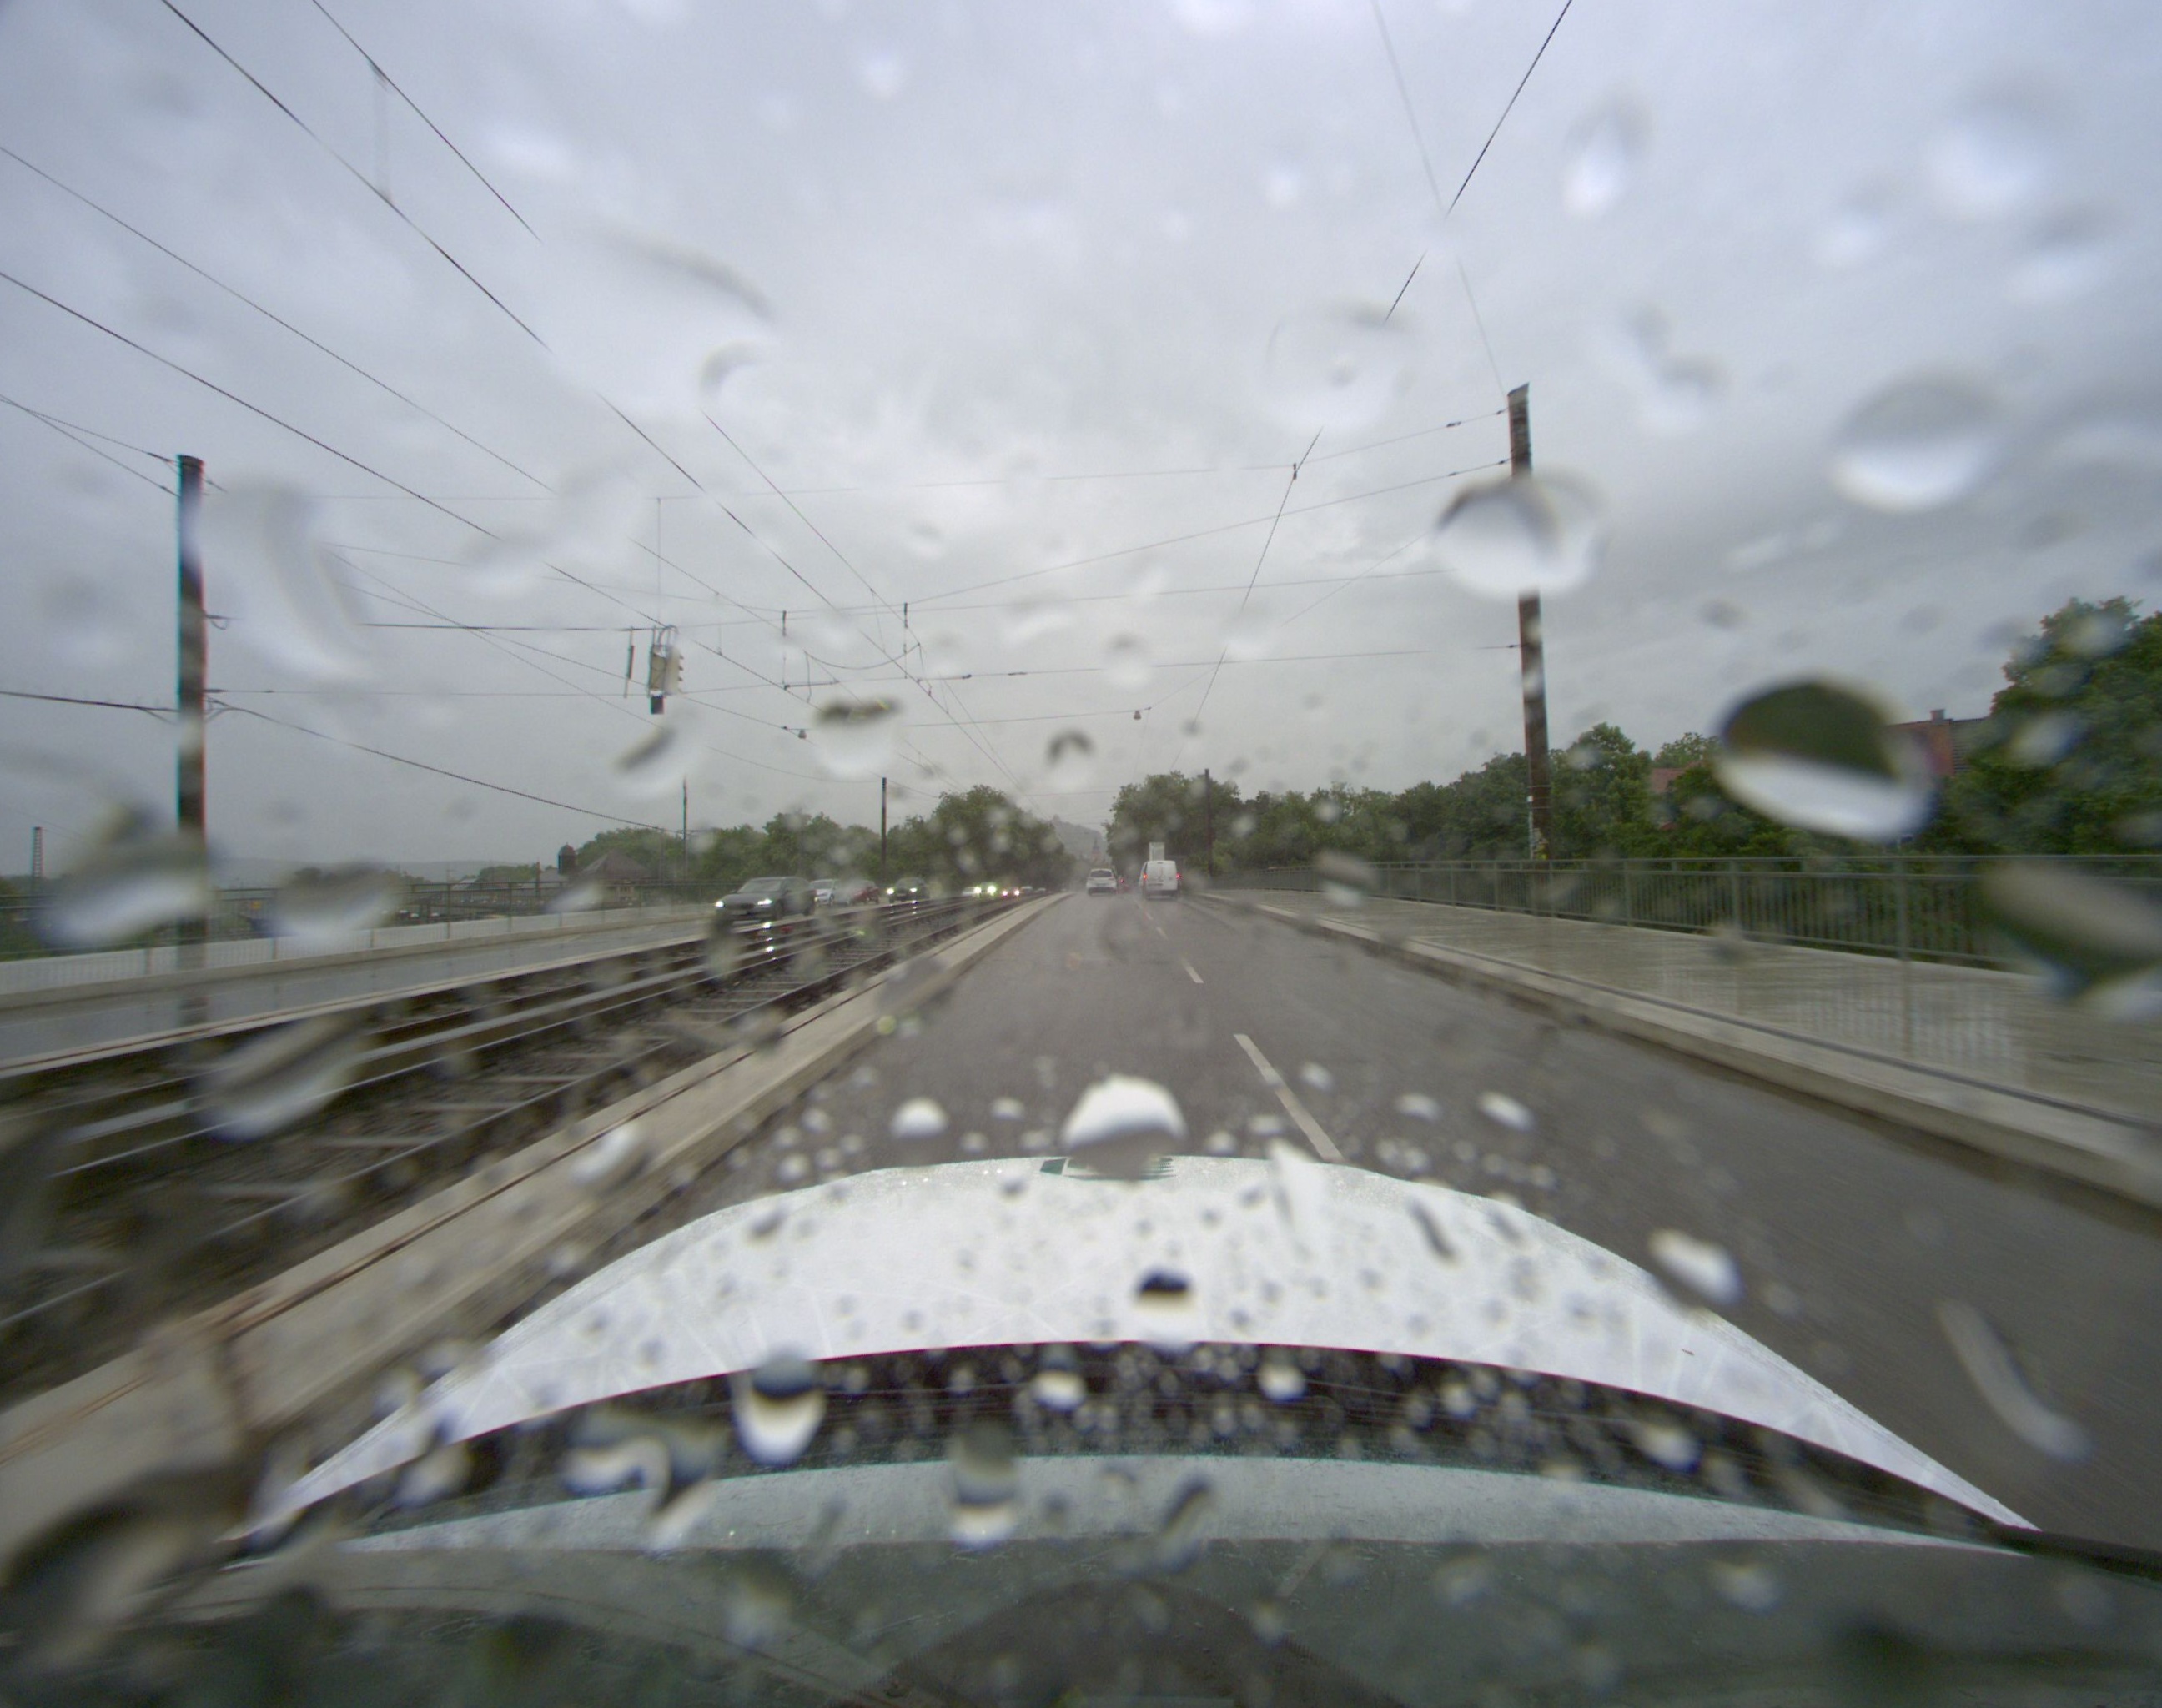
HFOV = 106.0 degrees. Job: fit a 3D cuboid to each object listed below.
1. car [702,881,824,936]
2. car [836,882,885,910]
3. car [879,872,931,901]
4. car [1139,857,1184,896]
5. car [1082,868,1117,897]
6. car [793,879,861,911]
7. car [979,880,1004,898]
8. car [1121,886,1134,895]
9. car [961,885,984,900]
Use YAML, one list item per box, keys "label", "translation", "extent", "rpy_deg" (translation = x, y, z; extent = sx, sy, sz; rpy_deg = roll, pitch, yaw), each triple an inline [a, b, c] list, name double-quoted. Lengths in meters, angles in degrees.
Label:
- label: "car"
  translation: [-10.275, 1.715, 26.788]
  extent: [1.988, 1.509, 5.110]
  rpy_deg: [-3, -2, -1]
- label: "car"
  translation: [-13.044, 2.466, 48.351]
  extent: [1.615, 1.456, 4.322]
  rpy_deg: [-3, -2, 1]
- label: "car"
  translation: [-10.172, 1.902, 47.283]
  extent: [1.987, 1.509, 4.092]
  rpy_deg: [-3, -2, 1]
- label: "car"
  translation: [3.727, 1.065, 38.133]
  extent: [1.985, 1.727, 4.003]
  rpy_deg: [0, -2, 4]
- label: "car"
  translation: [1.179, 1.798, 50.554]
  extent: [1.985, 1.717, 4.003]
  rpy_deg: [0, -2, 4]
- label: "car"
  translation: [-13.275, 2.124, 42.904]
  extent: [1.987, 1.456, 4.620]
  rpy_deg: [-3, -2, 1]
- label: "car"
  translation: [-8.393, 3.284, 76.606]
  extent: [1.811, 1.655, 4.001]
  rpy_deg: [0, -2, 2]
- label: "car"
  translation: [7.336, 5.733, 127.994]
  extent: [1.985, 1.321, 4.003]
  rpy_deg: [0, -2, 4]
- label: "car"
  translation: [-11.839, 4.162, 89.012]
  extent: [1.857, 1.456, 4.319]
  rpy_deg: [-3, -2, 1]
